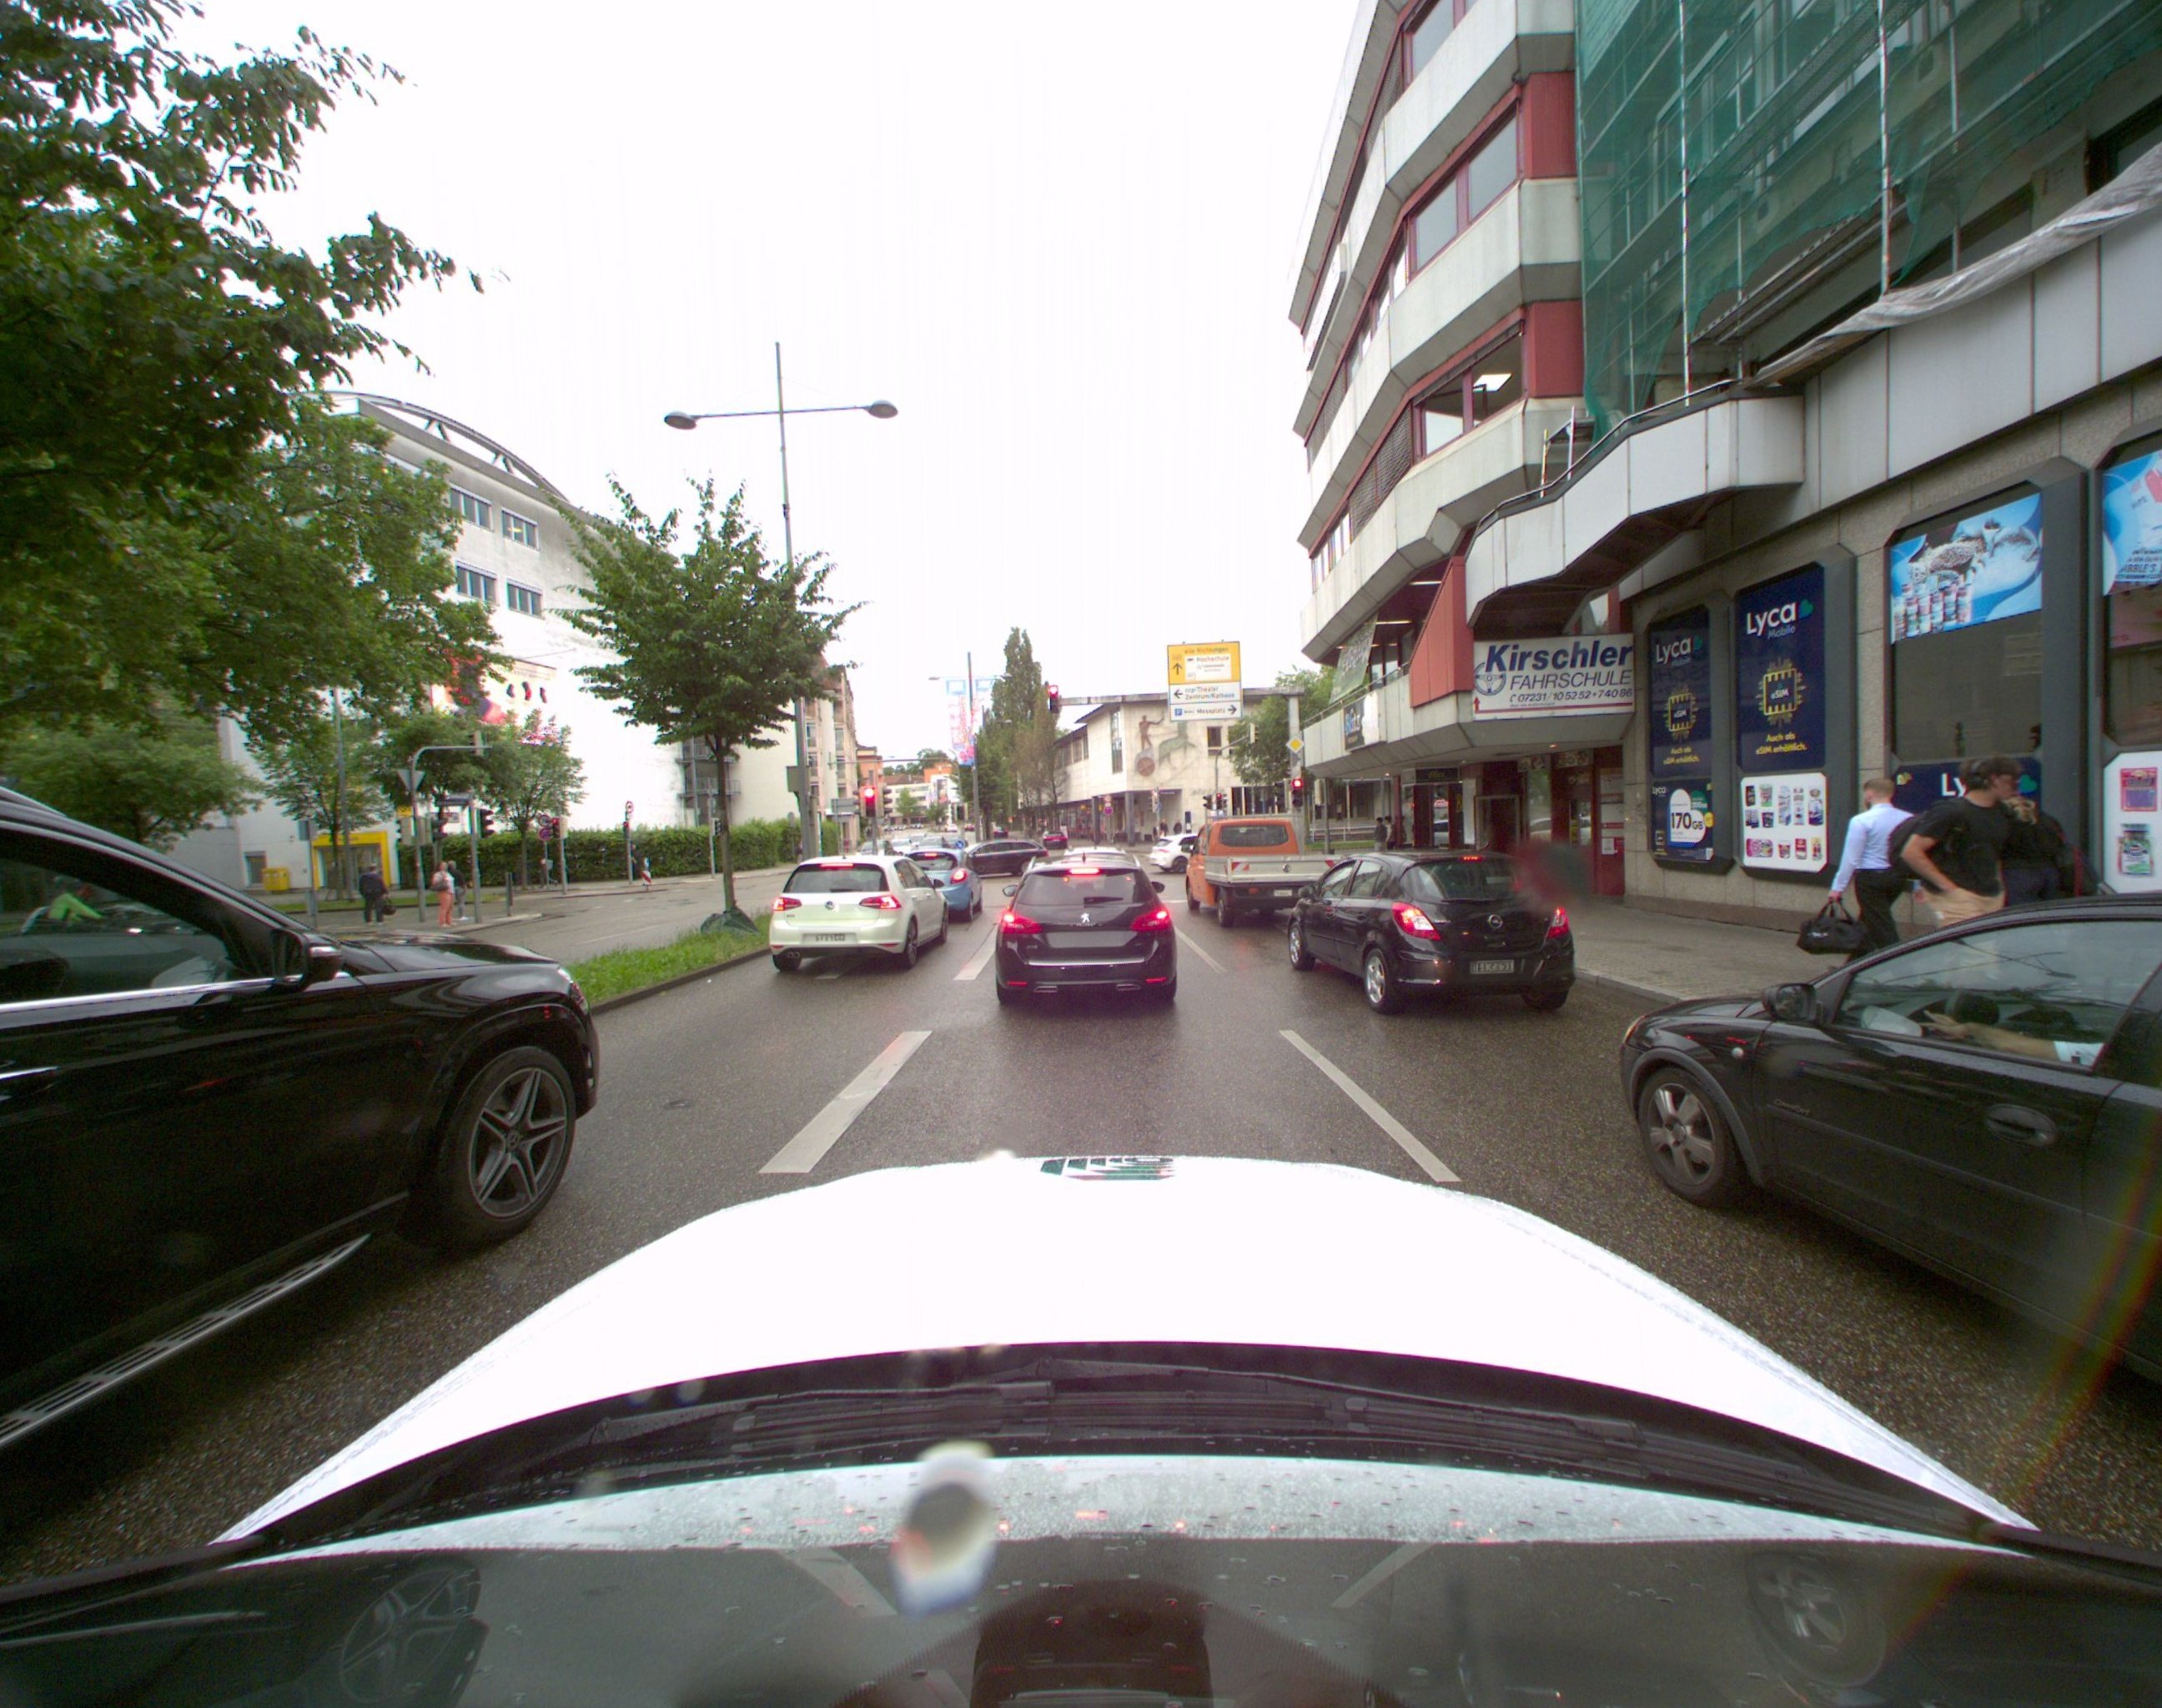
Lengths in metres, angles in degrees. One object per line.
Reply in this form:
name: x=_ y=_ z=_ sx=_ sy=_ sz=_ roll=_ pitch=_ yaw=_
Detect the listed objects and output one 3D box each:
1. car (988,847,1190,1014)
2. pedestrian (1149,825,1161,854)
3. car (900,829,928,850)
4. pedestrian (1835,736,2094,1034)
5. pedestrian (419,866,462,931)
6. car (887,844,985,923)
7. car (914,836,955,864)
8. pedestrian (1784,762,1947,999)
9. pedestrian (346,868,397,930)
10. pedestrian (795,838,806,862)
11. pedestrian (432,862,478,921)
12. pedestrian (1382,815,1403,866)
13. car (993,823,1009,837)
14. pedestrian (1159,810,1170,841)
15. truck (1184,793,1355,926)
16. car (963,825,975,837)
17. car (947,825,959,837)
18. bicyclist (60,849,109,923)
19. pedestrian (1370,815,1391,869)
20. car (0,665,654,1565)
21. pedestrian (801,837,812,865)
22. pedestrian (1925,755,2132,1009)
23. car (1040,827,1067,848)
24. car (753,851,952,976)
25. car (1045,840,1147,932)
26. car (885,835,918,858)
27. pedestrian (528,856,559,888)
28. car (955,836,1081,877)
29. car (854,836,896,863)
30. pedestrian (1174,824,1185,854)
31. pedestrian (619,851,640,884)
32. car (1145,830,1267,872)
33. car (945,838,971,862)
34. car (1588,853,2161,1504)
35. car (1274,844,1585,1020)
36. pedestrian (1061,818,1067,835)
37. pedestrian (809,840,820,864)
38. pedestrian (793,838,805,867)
car: x=0.091 y=0.662 z=9.135 sx=1.772 sy=1.429 sz=3.842 roll=-1 pitch=1 yaw=0
pedestrian: x=4.567 y=-0.860 z=50.305 sx=0.633 sy=1.758 sz=0.735 roll=-1 pitch=-1 yaw=8
car: x=-12.572 y=-1.112 z=61.542 sx=1.630 sy=1.486 sz=3.604 roll=-1 pitch=1 yaw=-4
pedestrian: x=5.896 y=0.204 z=5.506 sx=0.736 sy=1.816 sz=0.776 roll=-6 pitch=-1 yaw=13
pedestrian: x=-17.029 y=1.163 z=21.662 sx=0.555 sy=1.661 sz=0.580 roll=-2 pitch=2 yaw=2
car: x=-3.029 y=0.554 z=17.671 sx=1.629 sy=1.486 sz=3.606 roll=-1 pitch=1 yaw=-3
car: x=-8.655 y=-0.211 z=48.325 sx=1.739 sy=1.579 sz=3.997 roll=-1 pitch=-1 yaw=-1
pedestrian: x=6.728 y=0.220 z=7.016 sx=0.733 sy=1.935 sz=0.640 roll=-1 pitch=-1 yaw=1
pedestrian: x=-20.887 y=1.312 z=23.997 sx=0.917 sy=1.784 sz=0.712 roll=-1 pitch=-1 yaw=13
pedestrian: x=-19.001 y=-0.245 z=55.187 sx=0.579 sy=1.599 sz=0.526 roll=-1 pitch=-1 yaw=-5
pedestrian: x=-18.378 y=1.089 z=23.911 sx=0.750 sy=1.661 sz=0.628 roll=-2 pitch=2 yaw=1
pedestrian: x=10.153 y=-0.430 z=26.550 sx=0.395 sy=1.640 sz=0.504 roll=-3 pitch=-1 yaw=2
car: x=-10.375 y=-3.091 z=104.997 sx=1.725 sy=1.490 sz=4.717 roll=0 pitch=-1 yaw=-9
pedestrian: x=5.311 y=-1.818 z=51.897 sx=0.633 sy=1.897 sz=0.735 roll=-1 pitch=-1 yaw=8
truck: x=3.429 y=0.030 z=15.925 sx=2.170 sy=2.172 sz=5.020 roll=-1 pitch=1 yaw=0
car: x=-20.423 y=-4.217 z=147.987 sx=1.709 sy=1.936 sz=3.979 roll=0 pitch=-1 yaw=-15
car: x=-23.056 y=-4.178 z=146.855 sx=1.709 sy=1.882 sz=3.979 roll=0 pitch=-1 yaw=-15
bicyclist: x=-21.230 y=0.670 z=17.349 sx=0.625 sy=1.530 sz=0.613 roll=-4 pitch=-1 yaw=38
pedestrian: x=9.625 y=-0.379 z=26.166 sx=0.424 sy=1.682 sz=0.450 roll=-3 pitch=-1 yaw=0
car: x=-3.204 y=0.551 z=1.686 sx=1.905 sy=1.870 sz=5.073 roll=-1 pitch=-1 yaw=1
pedestrian: x=-17.613 y=-0.181 z=52.259 sx=0.538 sy=1.748 sz=0.564 roll=-1 pitch=-1 yaw=-3
pedestrian: x=7.769 y=0.222 z=6.715 sx=0.733 sy=1.934 sz=0.640 roll=-5 pitch=-1 yaw=1
car: x=-2.220 y=-1.302 z=64.028 sx=1.784 sy=1.454 sz=4.500 roll=-4 pitch=3 yaw=-5
car: x=-3.027 y=0.706 z=11.644 sx=1.772 sy=1.429 sz=3.841 roll=-1 pitch=1 yaw=-1
car: x=0.310 y=0.505 z=15.480 sx=1.690 sy=1.486 sz=3.795 roll=-1 pitch=1 yaw=2
car: x=-11.983 y=-0.504 z=54.599 sx=1.630 sy=1.486 sz=3.604 roll=-1 pitch=1 yaw=-4
pedestrian: x=-26.239 y=0.877 z=39.747 sx=1.059 sy=1.578 sz=0.683 roll=-1 pitch=-1 yaw=-3
car: x=-2.479 y=0.060 z=32.225 sx=4.740 sy=1.486 sz=1.627 roll=-1 pitch=1 yaw=-21
car: x=-12.009 y=-0.312 z=47.573 sx=1.569 sy=1.486 sz=3.608 roll=-1 pitch=1 yaw=-1
pedestrian: x=6.258 y=-0.950 z=51.629 sx=0.633 sy=1.897 sz=0.735 roll=-1 pitch=-1 yaw=8
pedestrian: x=-23.147 y=0.697 z=41.724 sx=0.730 sy=1.643 sz=0.638 roll=-1 pitch=-1 yaw=-6
car: x=4.730 y=-0.140 z=30.988 sx=4.296 sy=1.486 sz=1.631 roll=-1 pitch=1 yaw=-13
car: x=-8.906 y=-0.287 z=58.972 sx=1.743 sy=1.640 sz=3.988 roll=-1 pitch=-1 yaw=-9
car: x=3.273 y=0.747 z=2.280 sx=1.600 sy=1.429 sz=3.626 roll=-1 pitch=1 yaw=3
car: x=3.353 y=0.621 z=8.666 sx=1.611 sy=1.429 sz=3.840 roll=-1 pitch=1 yaw=-1
pedestrian: x=-1.820 y=-2.910 z=87.129 sx=0.469 sy=1.748 sz=0.537 roll=0 pitch=-1 yaw=-19
pedestrian: x=-18.348 y=-0.127 z=56.054 sx=0.579 sy=1.599 sz=0.526 roll=-1 pitch=-1 yaw=-5
pedestrian: x=-17.523 y=-0.080 z=50.687 sx=0.538 sy=1.748 sz=0.745 roll=-1 pitch=-1 yaw=-7
